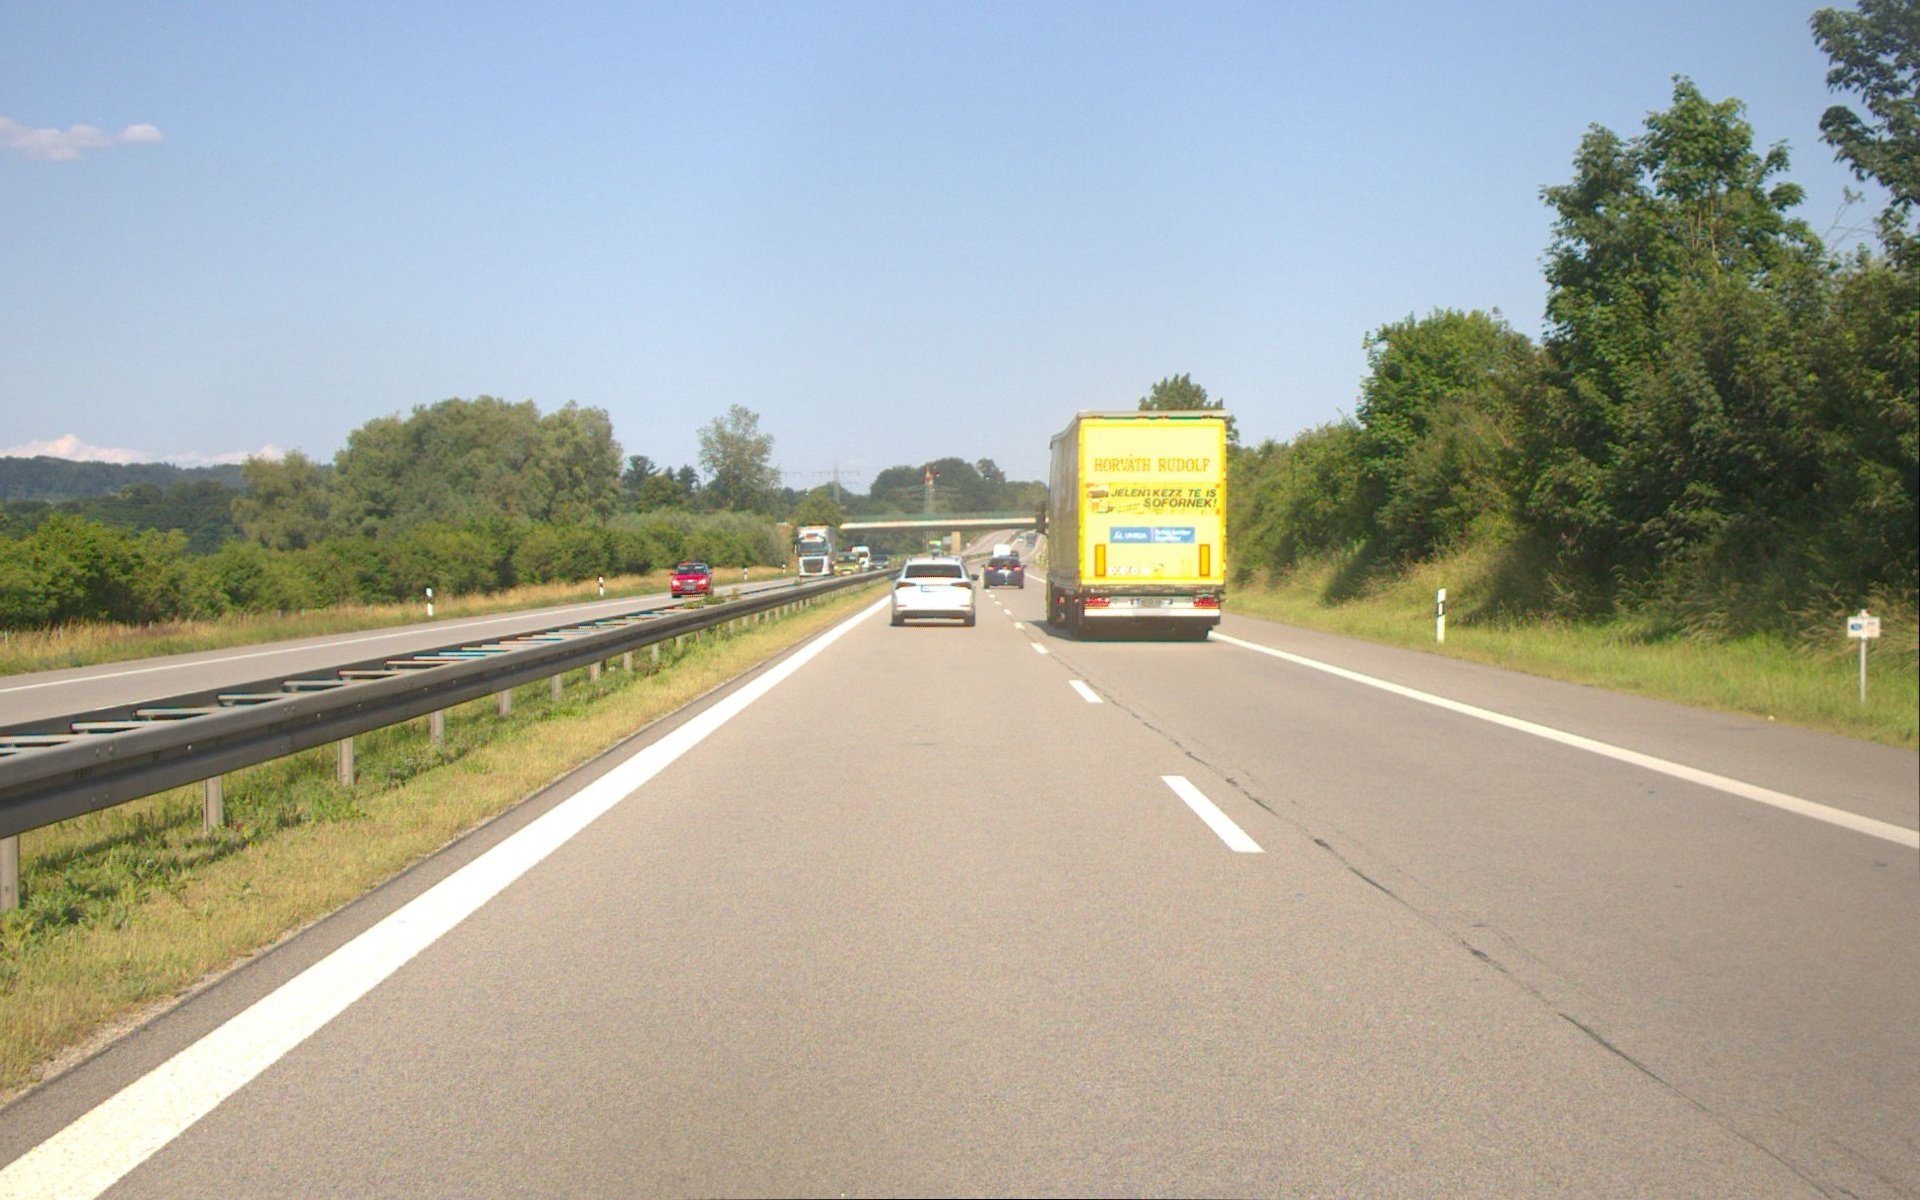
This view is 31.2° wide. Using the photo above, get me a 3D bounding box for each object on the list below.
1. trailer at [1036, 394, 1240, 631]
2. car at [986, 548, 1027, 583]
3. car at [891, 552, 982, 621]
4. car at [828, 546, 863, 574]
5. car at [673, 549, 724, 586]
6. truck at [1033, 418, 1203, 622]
[{"bbox_3d":[3.208,-1.588,65.851,3.184,4.045,13.187,1,1,0],"label":"trailer"},{"bbox_3d":[2.115,-1.580,157.076,1.843,1.515,4.000,1,1,1],"label":"car"},{"bbox_3d":[-0.481,-0.307,73.317,1.843,1.411,4.000,1,1,1],"label":"car"},{"bbox_3d":[-7.713,-2.712,231.284,1.950,1.765,4.748,-3,1,2],"label":"car"},{"bbox_3d":[-11.321,-1.402,149.130,1.730,1.506,4.479,-3,1,1],"label":"car"},{"bbox_3d":[3.274,-1.669,73.040,3.168,4.100,6.389,1,1,-1],"label":"truck"}]
